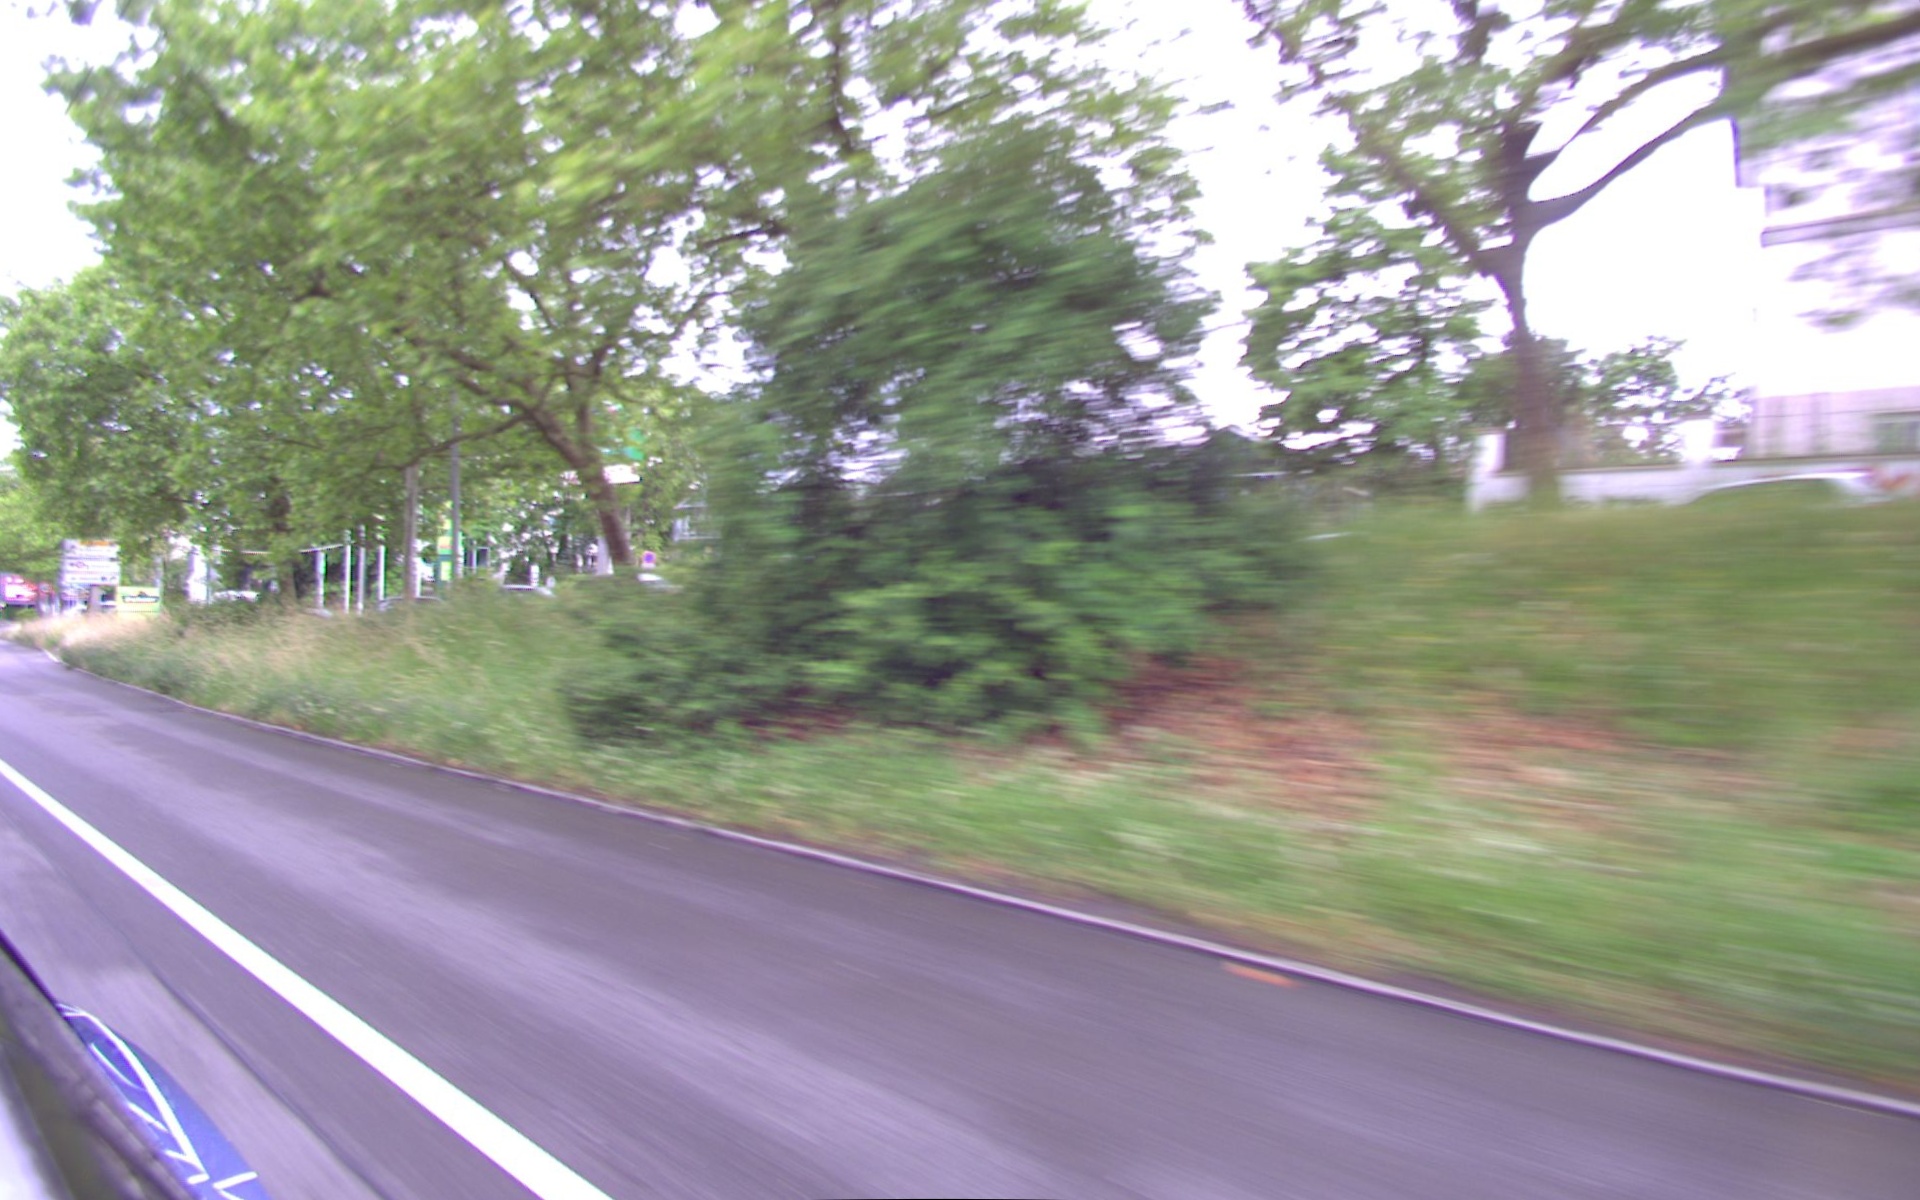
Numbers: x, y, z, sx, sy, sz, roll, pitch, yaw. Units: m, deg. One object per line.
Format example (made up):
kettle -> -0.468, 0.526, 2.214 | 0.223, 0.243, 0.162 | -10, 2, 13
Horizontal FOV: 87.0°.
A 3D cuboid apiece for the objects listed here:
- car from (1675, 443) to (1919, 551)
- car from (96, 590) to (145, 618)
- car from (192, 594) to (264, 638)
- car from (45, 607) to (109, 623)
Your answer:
car -> 12.174, -1.420, 14.554 | 3.011, 1.308, 1.369 | 1, -1, 38
car -> -43.967, 0.202, 52.995 | 3.706, 1.405, 1.346 | 1, -1, 41
car -> -43.806, 1.006, 60.536 | 5.647, 2.462, 1.944 | -3, -3, 38
car -> -104.502, 1.822, 119.829 | 2.215, 1.815, 5.309 | 1, 0, 35
